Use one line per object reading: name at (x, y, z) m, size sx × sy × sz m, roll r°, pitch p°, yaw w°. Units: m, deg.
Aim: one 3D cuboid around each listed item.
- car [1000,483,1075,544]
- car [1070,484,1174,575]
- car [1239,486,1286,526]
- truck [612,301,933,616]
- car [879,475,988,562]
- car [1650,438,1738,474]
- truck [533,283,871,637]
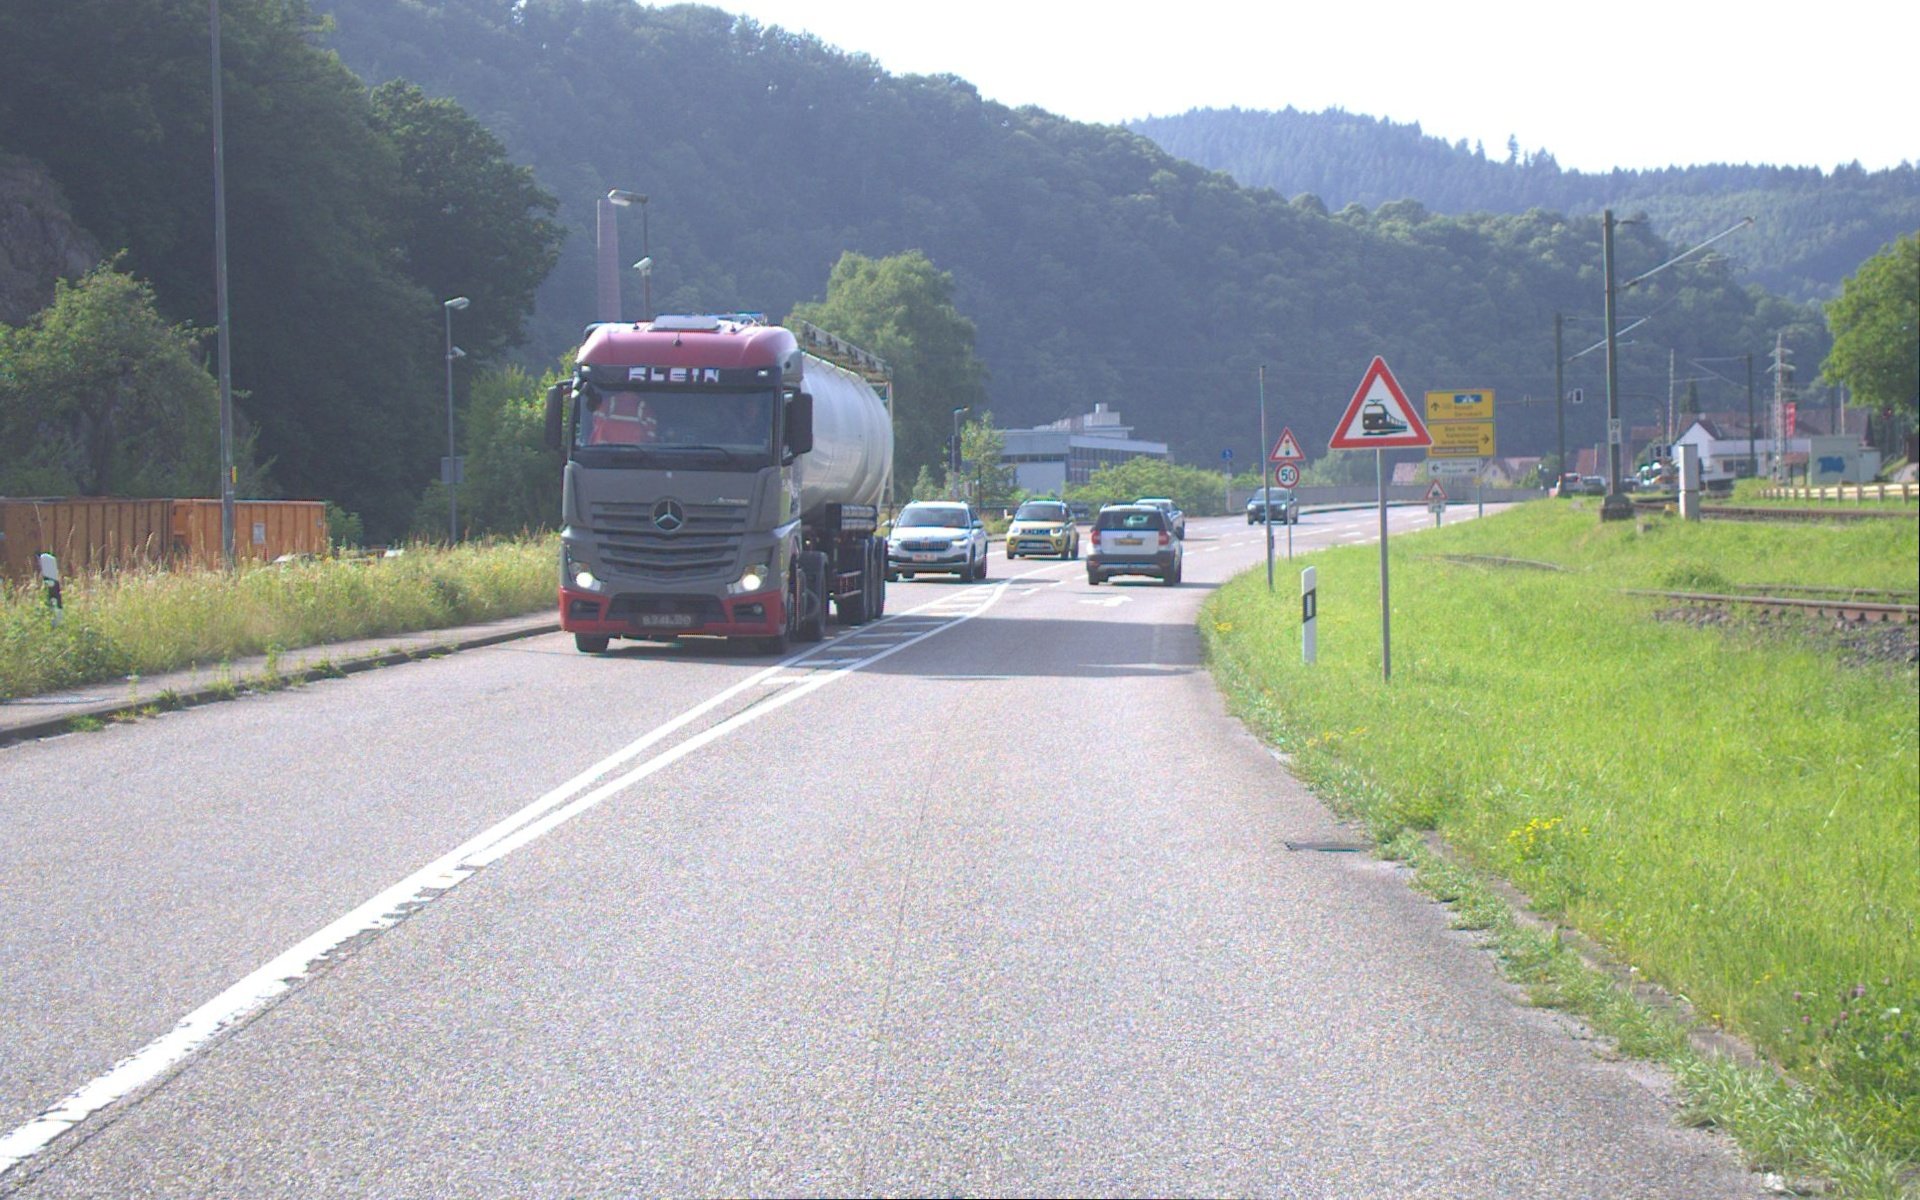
car at (2.117, -2.374, 93.502) m, size 1.724 × 1.619 × 3.796 m, roll 0°, pitch 2°, yaw 6°
car at (3.324, -1.466, 70.723) m, size 1.994 × 1.717 × 3.990 m, roll -3°, pitch 1°, yaw 2°
car at (12.817, -3.988, 145.548) m, size 1.847 × 1.579 × 4.315 m, roll 1°, pitch 2°, yaw 7°
truck at (-2.346, -1.941, 49.081) m, size 2.750 × 3.822 × 14.561 m, roll 0°, pitch 2°, yaw 4°
car at (-0.528, -1.727, 72.710) m, size 1.994 × 1.752 × 4.469 m, roll 1°, pitch 2°, yaw 3°
car at (47.102, -9.245, 220.599) m, size 5.282 × 2.006 × 1.999 m, roll -3°, pitch 2°, yaw 15°
truck at (-2.909, -1.640, 41.366) m, size 2.750 × 3.822 × 8.197 m, roll 0°, pitch 2°, yaw 5°
